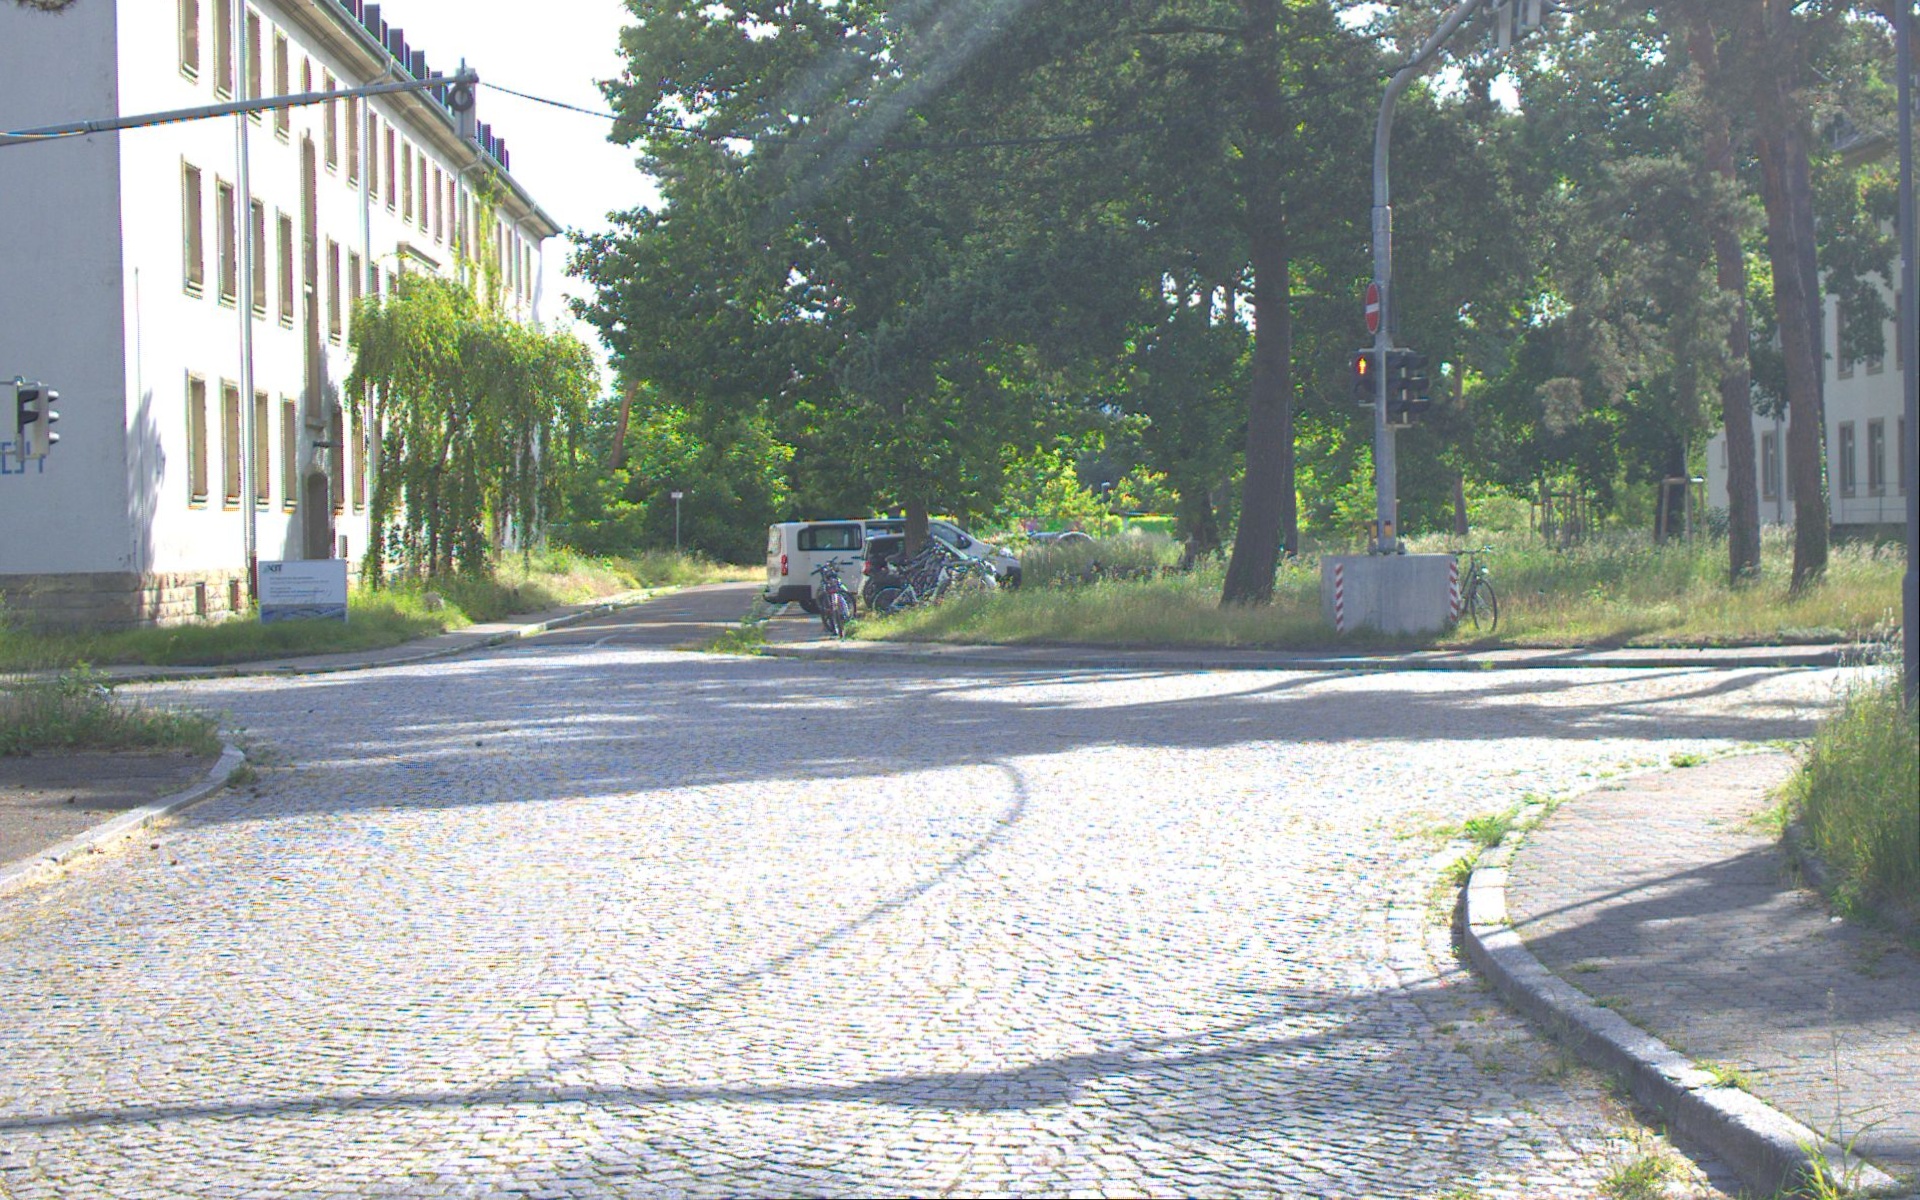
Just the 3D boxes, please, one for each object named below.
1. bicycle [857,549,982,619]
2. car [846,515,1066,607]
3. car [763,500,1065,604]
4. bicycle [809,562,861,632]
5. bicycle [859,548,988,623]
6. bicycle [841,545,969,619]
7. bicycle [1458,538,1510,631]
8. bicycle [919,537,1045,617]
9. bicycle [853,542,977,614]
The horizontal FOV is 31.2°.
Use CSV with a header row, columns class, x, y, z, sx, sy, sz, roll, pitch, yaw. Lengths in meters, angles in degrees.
class,x,y,z,sx,sy,sz,roll,pitch,yaw
bicycle,-0.632,-0.251,52.696,1.854,1.027,0.750,-1,1,-4
car,-0.103,-0.762,66.453,3.986,1.678,1.848,-1,1,-9
car,-0.986,-1.007,70.834,5.929,2.007,2.476,-1,1,-8
bicycle,-1.793,-0.051,49.182,0.695,0.968,1.861,0,1,-3
bicycle,-0.577,-0.226,53.495,1.940,1.125,0.750,-1,1,-4
bicycle,-0.877,-0.292,54.705,1.940,1.125,0.648,-2,1,-28
bicycle,6.194,-0.189,40.681,0.466,1.076,1.174,-1,1,2
bicycle,0.346,-0.367,54.213,1.940,1.231,0.485,-1,1,-4
bicycle,-0.741,-0.362,55.822,1.940,1.125,0.648,-1,1,-6
